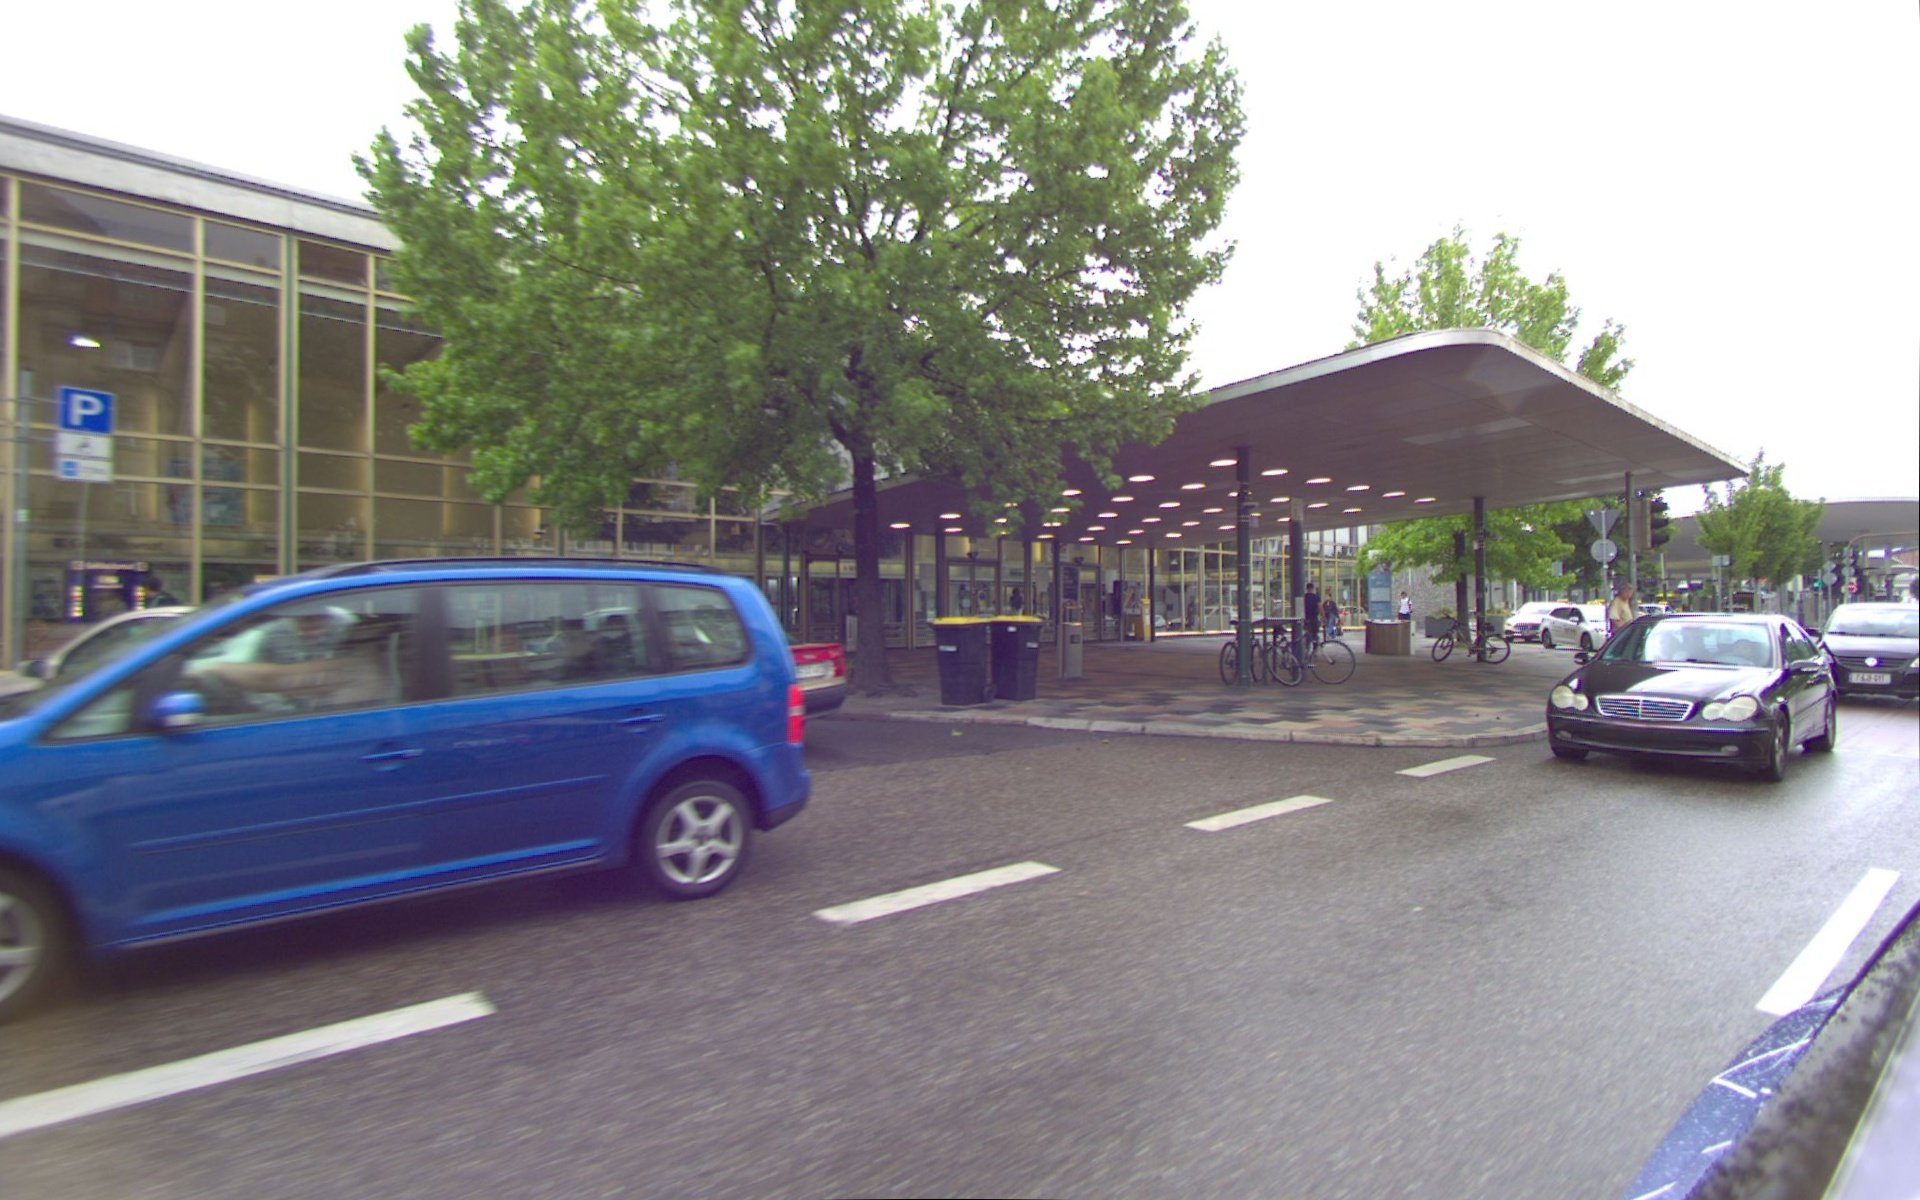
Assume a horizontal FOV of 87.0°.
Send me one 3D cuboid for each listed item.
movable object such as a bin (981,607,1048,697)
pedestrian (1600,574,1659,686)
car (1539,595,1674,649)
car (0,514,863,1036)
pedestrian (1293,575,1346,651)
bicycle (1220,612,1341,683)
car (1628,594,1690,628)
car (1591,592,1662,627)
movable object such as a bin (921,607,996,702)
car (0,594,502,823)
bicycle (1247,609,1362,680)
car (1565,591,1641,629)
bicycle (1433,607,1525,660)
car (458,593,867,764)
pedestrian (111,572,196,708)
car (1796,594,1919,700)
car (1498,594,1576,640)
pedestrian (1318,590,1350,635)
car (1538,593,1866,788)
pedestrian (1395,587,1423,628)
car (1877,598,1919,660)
[{"bbox_3d":[0.705,0.652,13.120,0.687,1.121,0.542,0,0,35],"label":"movable object such as a bin"},{"bbox_3d":[10.901,0.474,16.481,0.686,1.773,0.561,0,1,-35],"label":"pedestrian"},{"bbox_3d":[19.362,0.603,30.524,1.790,1.509,4.151,0,0,7],"label":"car"},{"bbox_3d":[-2.776,0.559,4.744,4.336,1.704,1.824,0,0,-38],"label":"car"},{"bbox_3d":[8.577,0.300,24.131,0.895,1.780,0.824,0,0,-35],"label":"pedestrian"},{"bbox_3d":[4.924,0.716,15.616,1.691,1.059,0.524,0,0,8],"label":"bicycle"},{"bbox_3d":[34.708,0.518,50.211,4.010,1.610,1.816,0,0,-44],"label":"car"},{"bbox_3d":[30.538,0.392,46.300,4.391,1.510,1.816,0,1,-44],"label":"car"},{"bbox_3d":[-0.019,0.659,12.599,0.722,1.121,0.593,0,0,40],"label":"movable object such as a bin"},{"bbox_3d":[-5.737,0.672,7.893,3.884,1.417,1.767,0,0,22],"label":"car"},{"bbox_3d":[5.478,0.695,16.157,1.696,1.059,0.522,1,0,16],"label":"bicycle"},{"bbox_3d":[27.396,0.392,43.080,4.101,1.510,1.816,0,1,-44],"label":"car"},{"bbox_3d":[11.330,0.719,22.125,1.712,1.059,0.517,2,1,40],"label":"bicycle"},{"bbox_3d":[-3.042,0.643,10.223,3.896,1.417,1.761,0,0,29],"label":"car"},{"bbox_3d":[-10.350,0.486,12.980,0.819,1.662,0.758,0,0,-41],"label":"pedestrian"},{"bbox_3d":[14.650,0.662,16.008,1.868,1.493,3.764,0,1,45],"label":"car"},{"bbox_3d":[21.316,0.560,37.297,1.812,1.575,4.401,0,0,39],"label":"car"},{"bbox_3d":[13.009,0.432,35.199,0.837,1.530,0.762,0,0,-41],"label":"pedestrian"},{"bbox_3d":[7.256,0.684,9.773,3.760,1.493,1.869,0,0,-42],"label":"car"},{"bbox_3d":[18.755,0.295,42.262,0.837,1.669,0.762,0,0,-41],"label":"pedestrian"},{"bbox_3d":[24.701,0.710,25.777,3.606,1.505,1.618,0,0,-42],"label":"car"}]
